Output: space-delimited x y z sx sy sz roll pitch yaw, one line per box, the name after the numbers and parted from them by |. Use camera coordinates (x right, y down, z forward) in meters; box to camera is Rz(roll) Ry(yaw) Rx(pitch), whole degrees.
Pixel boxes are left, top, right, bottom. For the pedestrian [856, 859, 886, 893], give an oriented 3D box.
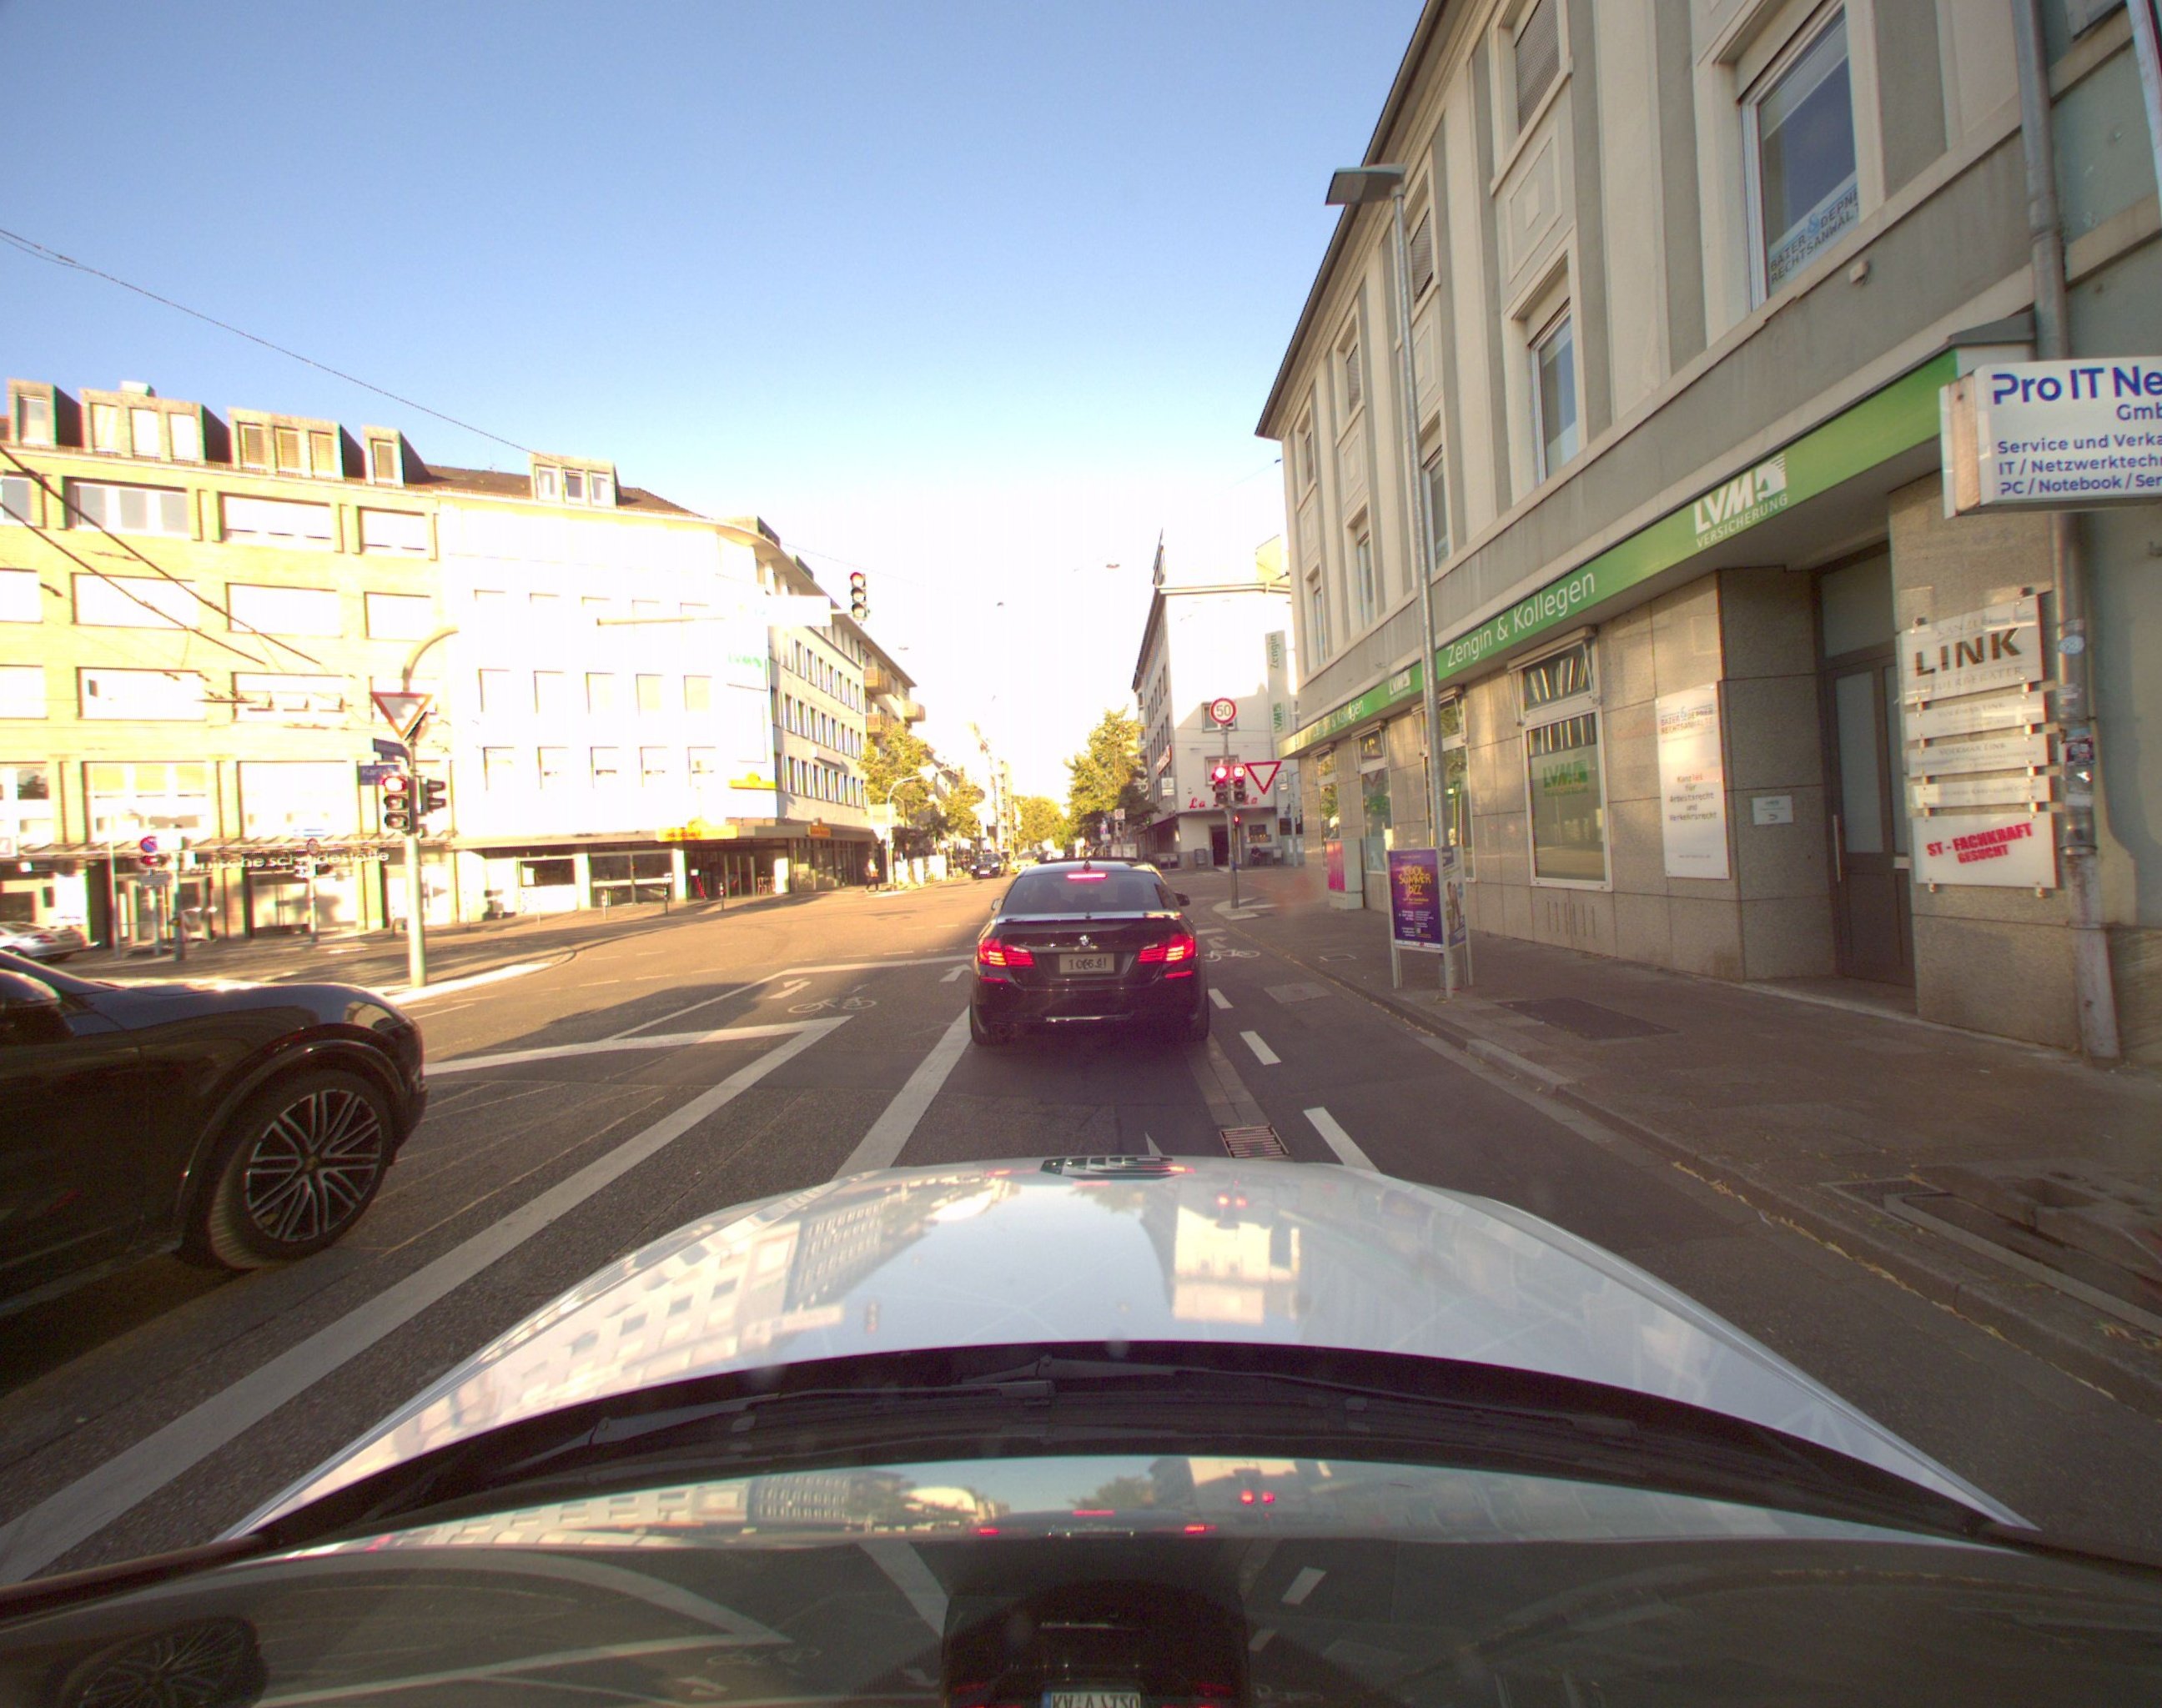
-10.066 1.048 38.992 0.897 1.537 0.955 -3 0 38 | pedestrian

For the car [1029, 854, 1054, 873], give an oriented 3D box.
-3.178 0.731 64.678 1.731 1.293 3.993 -3 0 -5 | car

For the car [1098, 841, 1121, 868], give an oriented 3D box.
2.141 0.046 61.112 1.417 1.854 3.050 -2 0 -2 | car

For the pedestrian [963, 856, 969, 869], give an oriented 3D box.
-12.217 0.915 86.466 0.443 1.416 0.525 -4 0 -2 | pedestrian

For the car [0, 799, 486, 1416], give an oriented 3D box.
-4.014 0.768 1.775 1.942 1.714 4.561 -4 0 0 | car

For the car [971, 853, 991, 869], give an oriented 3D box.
-9.735 0.682 79.429 1.731 1.461 3.993 -3 0 -5 | car

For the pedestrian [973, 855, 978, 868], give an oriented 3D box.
-11.203 0.810 86.555 0.443 1.416 0.525 -3 0 -2 | pedestrian

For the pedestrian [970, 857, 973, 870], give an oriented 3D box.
-11.651 1.002 86.636 0.306 1.359 0.284 -3 0 -9 | pedestrian

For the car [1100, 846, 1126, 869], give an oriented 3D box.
2.113 0.232 54.708 1.620 1.471 3.394 -2 0 0 | car

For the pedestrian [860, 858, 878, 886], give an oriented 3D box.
-13.211 1.133 50.745 0.821 1.676 0.871 -3 0 -1 | pedestrian

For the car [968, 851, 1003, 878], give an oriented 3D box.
-6.121 0.649 52.540 1.990 1.618 3.993 -3 0 -5 | car

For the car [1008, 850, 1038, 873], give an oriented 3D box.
-4.145 0.515 57.933 1.990 1.442 3.993 -3 0 -5 | car

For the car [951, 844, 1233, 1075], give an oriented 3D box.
0.062 0.692 7.741 1.898 1.540 4.448 -1 0 -1 | car

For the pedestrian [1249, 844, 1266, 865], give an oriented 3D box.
10.006 0.021 46.239 0.695 1.157 0.843 -3 0 -1 | pedestrian
